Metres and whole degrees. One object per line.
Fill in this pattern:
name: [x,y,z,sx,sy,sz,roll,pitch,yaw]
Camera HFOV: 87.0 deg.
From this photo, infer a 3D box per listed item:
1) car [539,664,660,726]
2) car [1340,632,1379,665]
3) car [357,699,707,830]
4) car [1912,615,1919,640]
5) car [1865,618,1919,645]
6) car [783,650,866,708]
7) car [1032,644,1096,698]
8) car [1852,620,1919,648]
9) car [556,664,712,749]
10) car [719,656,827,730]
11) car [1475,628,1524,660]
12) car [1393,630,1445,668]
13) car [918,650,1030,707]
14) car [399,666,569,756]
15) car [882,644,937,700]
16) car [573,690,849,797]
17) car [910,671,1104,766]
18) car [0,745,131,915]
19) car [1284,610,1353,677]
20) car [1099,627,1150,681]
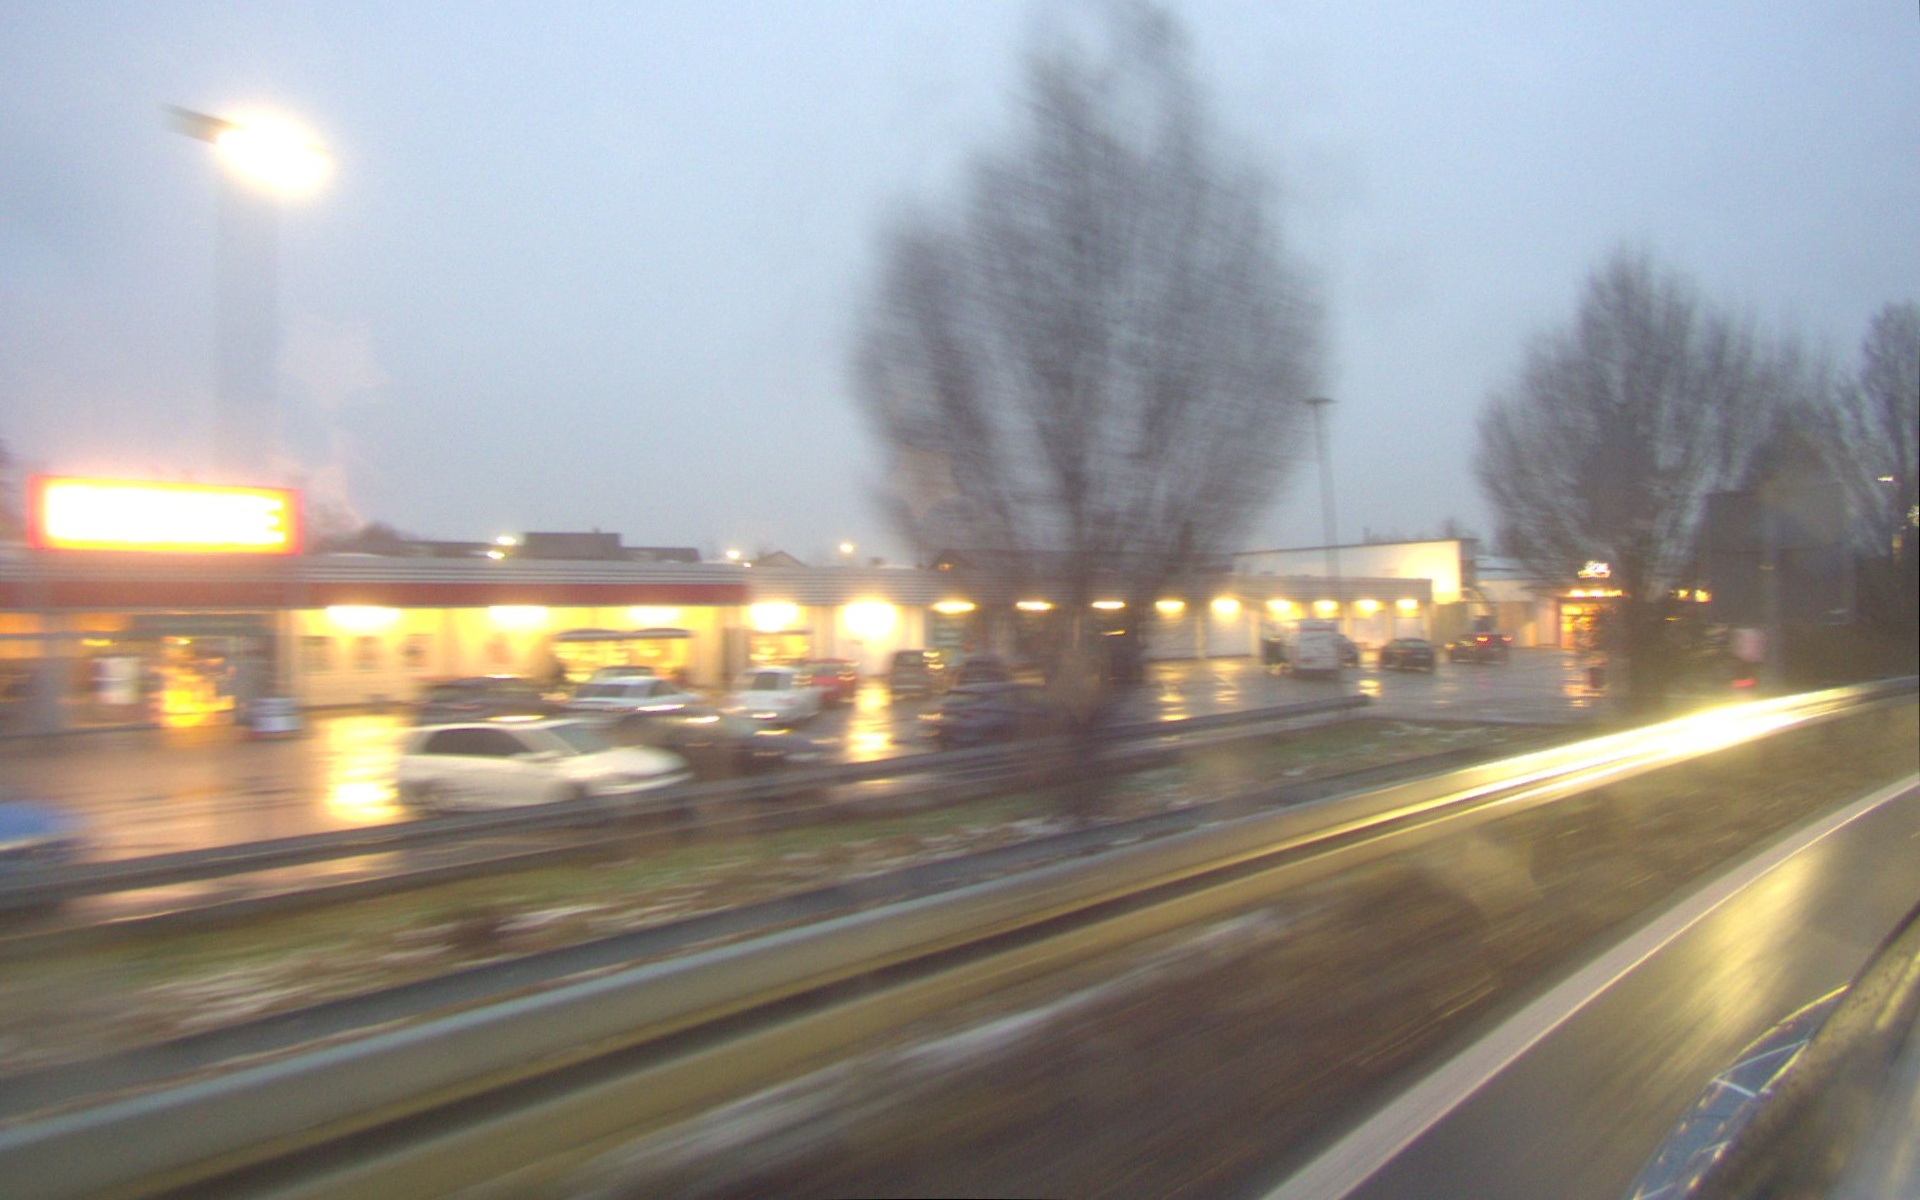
car: [-9.922,2.586,28.138,1.574,1.364,3.621,0,0,11]
car: [19.177,2.307,48.692,1.509,1.355,3.567,0,1,18]
car: [-6.328,2.362,15.089,4.635,1.414,1.896,0,1,14]
car: [64.659,1.824,65.685,1.775,1.617,4.007,0,1,-41]
car: [56.249,1.868,59.764,1.685,1.430,4.007,0,1,-41]
car: [-4.226,2.444,32.174,1.698,1.520,4.018,0,0,7]
car: [3.387,2.295,33.364,1.687,1.536,3.258,-1,-1,-1]
car: [53.688,1.934,57.731,1.685,1.430,4.007,0,1,-41]
car: [-7.729,2.481,24.471,1.776,1.554,4.532,0,0,9]
car: [-4.842,2.380,26.820,1.793,1.660,4.464,0,-1,3]
car: [26.508,2.125,49.829,1.509,1.355,3.567,0,1,18]
car: [20.518,2.168,45.336,1.692,1.430,3.990,0,1,18]
car: [0.380,2.316,30.138,3.194,1.555,1.393,-1,-1,-3]
car: [-10.608,2.426,22.842,1.576,1.606,3.616,0,0,14]
car: [-1.670,2.407,34.747,1.767,1.615,3.980,0,0,-1]
car: [-4.054,2.330,16.854,4.109,1.414,1.848,0,1,7]
car: [1.002,2.346,20.759,3.741,1.447,1.772,-1,1,-37]
car: [-11.451,2.395,10.791,4.115,1.414,1.898,0,1,12]
car: [14.749,1.703,41.917,2.248,2.470,5.215,0,1,15]
car: [6.616,2.114,40.752,1.857,1.983,4.945,-1,-1,9]
